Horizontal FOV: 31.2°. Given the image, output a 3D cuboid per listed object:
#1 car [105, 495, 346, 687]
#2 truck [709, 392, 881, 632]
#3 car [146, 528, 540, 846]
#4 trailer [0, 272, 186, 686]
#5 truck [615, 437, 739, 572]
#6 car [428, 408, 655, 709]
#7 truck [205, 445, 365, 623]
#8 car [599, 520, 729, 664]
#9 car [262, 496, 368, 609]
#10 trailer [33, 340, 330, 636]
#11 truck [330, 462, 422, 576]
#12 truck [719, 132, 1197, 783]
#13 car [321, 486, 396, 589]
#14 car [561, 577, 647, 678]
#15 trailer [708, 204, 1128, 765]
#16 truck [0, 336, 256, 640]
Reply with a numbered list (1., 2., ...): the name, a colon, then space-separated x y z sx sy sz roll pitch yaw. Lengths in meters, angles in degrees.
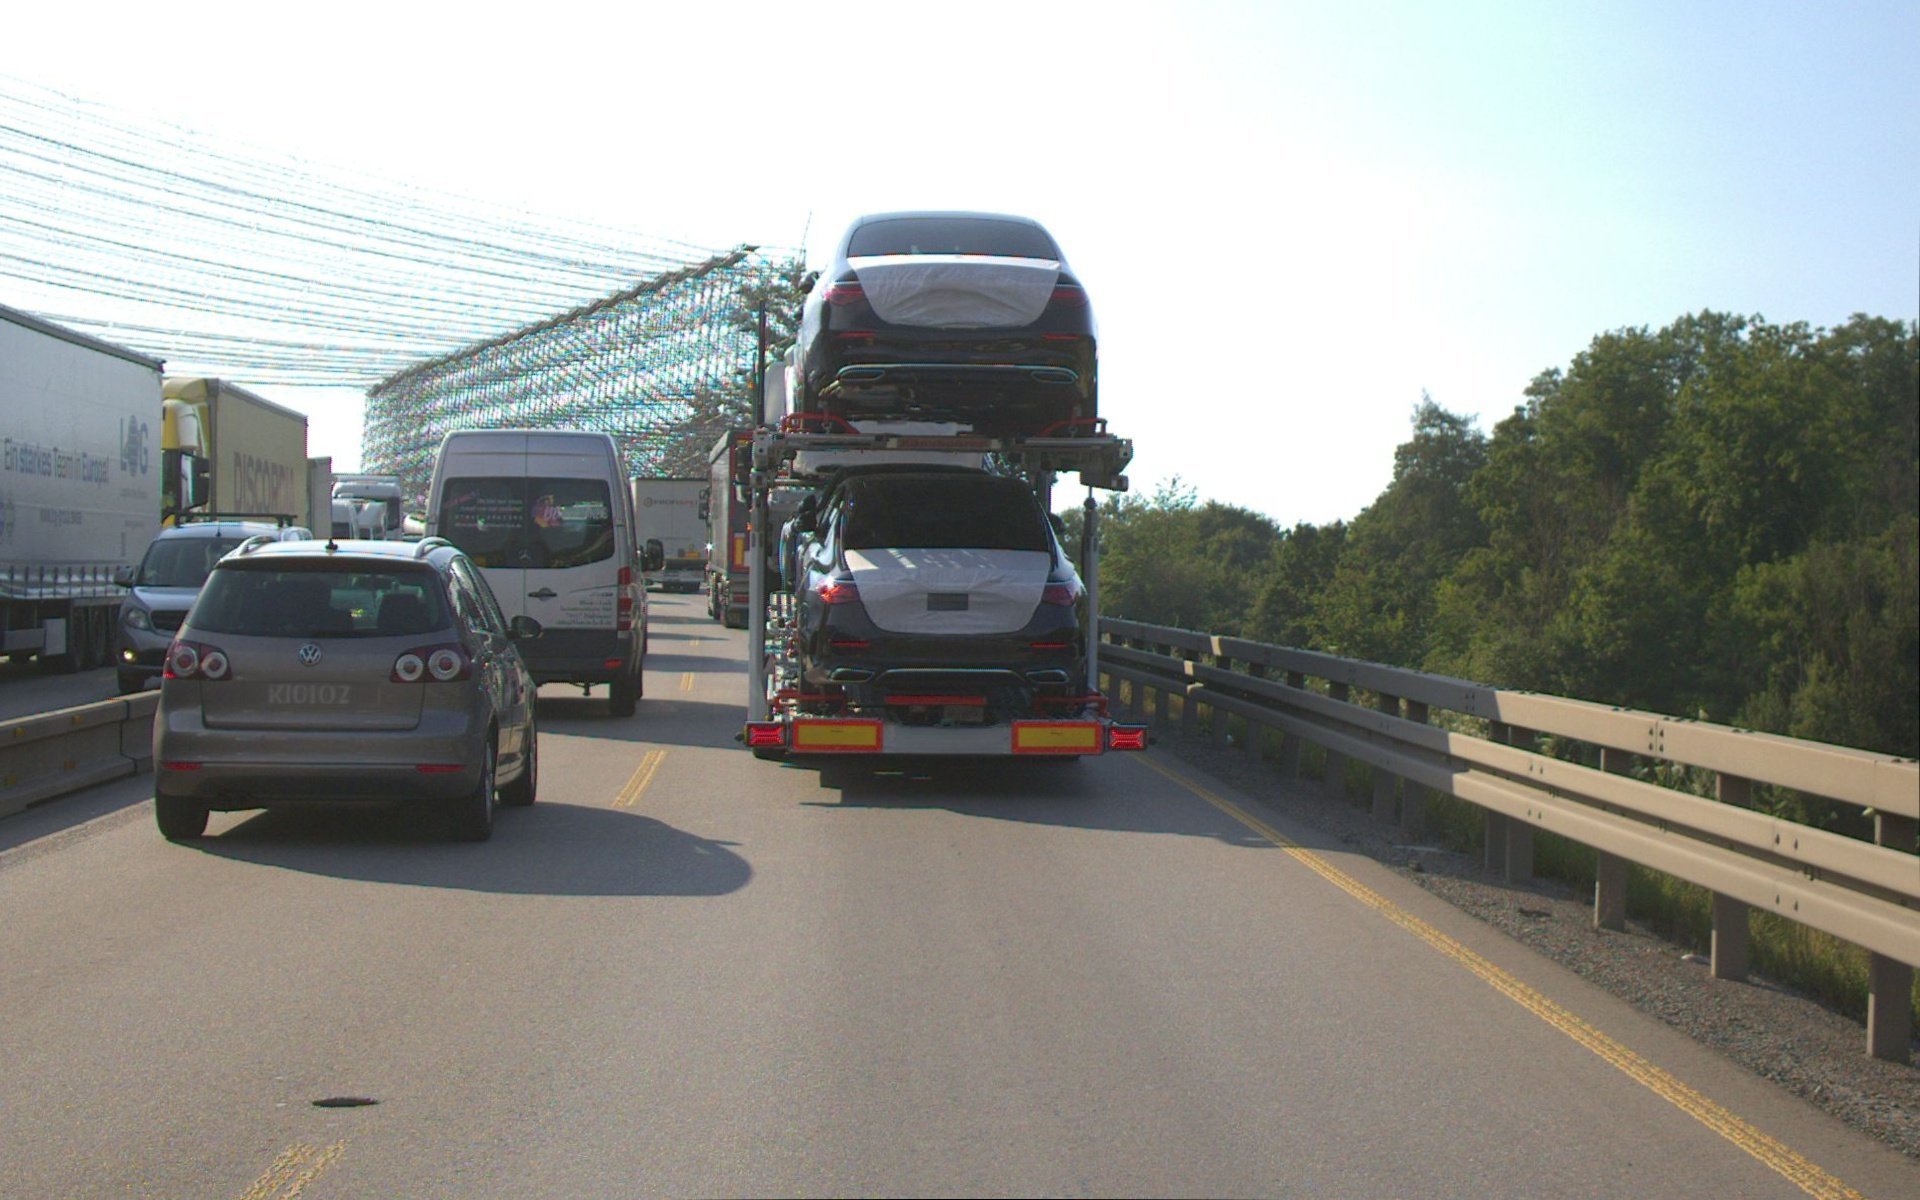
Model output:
1. car: -7.776 -0.134 36.803 1.832 1.910 4.865 0 1 -4
2. truck: -3.652 -1.828 73.080 3.227 4.661 11.697 0 1 -5
3. car: -3.328 0.449 19.223 1.700 1.581 4.147 0 0 -4
4. trailer: -11.335 -1.210 40.079 2.453 4.251 12.146 0 0 -3
5. truck: -10.406 -3.420 125.194 3.647 4.661 11.698 0 1 -9
6. car: -3.909 -0.355 32.692 1.979 2.675 4.147 0 0 -5
7. truck: -14.107 -1.287 72.331 2.358 3.519 7.698 0 0 -4
8. car: -4.190 -0.092 49.099 1.668 1.978 3.818 0 0 -2
9. car: -16.383 -1.164 87.566 2.128 2.741 5.505 0 0 -5
10. trailer: -12.866 -1.605 58.236 2.893 4.379 14.381 0 0 -5
11. truck: -21.263 -2.945 125.496 2.641 3.981 9.031 0 1 -6
12. truck: -0.205 -0.845 23.927 2.869 3.966 5.772 0 0 -5
13. car: -16.651 -1.728 95.340 1.668 2.756 4.960 0 1 -6
14. car: -7.155 0.551 69.189 1.668 1.978 3.818 0 0 -6
15. trailer: -0.849 -0.764 32.097 2.874 3.980 15.281 0 0 -5
16. truck: -12.294 -1.549 51.089 2.893 4.257 5.772 0 0 -5
